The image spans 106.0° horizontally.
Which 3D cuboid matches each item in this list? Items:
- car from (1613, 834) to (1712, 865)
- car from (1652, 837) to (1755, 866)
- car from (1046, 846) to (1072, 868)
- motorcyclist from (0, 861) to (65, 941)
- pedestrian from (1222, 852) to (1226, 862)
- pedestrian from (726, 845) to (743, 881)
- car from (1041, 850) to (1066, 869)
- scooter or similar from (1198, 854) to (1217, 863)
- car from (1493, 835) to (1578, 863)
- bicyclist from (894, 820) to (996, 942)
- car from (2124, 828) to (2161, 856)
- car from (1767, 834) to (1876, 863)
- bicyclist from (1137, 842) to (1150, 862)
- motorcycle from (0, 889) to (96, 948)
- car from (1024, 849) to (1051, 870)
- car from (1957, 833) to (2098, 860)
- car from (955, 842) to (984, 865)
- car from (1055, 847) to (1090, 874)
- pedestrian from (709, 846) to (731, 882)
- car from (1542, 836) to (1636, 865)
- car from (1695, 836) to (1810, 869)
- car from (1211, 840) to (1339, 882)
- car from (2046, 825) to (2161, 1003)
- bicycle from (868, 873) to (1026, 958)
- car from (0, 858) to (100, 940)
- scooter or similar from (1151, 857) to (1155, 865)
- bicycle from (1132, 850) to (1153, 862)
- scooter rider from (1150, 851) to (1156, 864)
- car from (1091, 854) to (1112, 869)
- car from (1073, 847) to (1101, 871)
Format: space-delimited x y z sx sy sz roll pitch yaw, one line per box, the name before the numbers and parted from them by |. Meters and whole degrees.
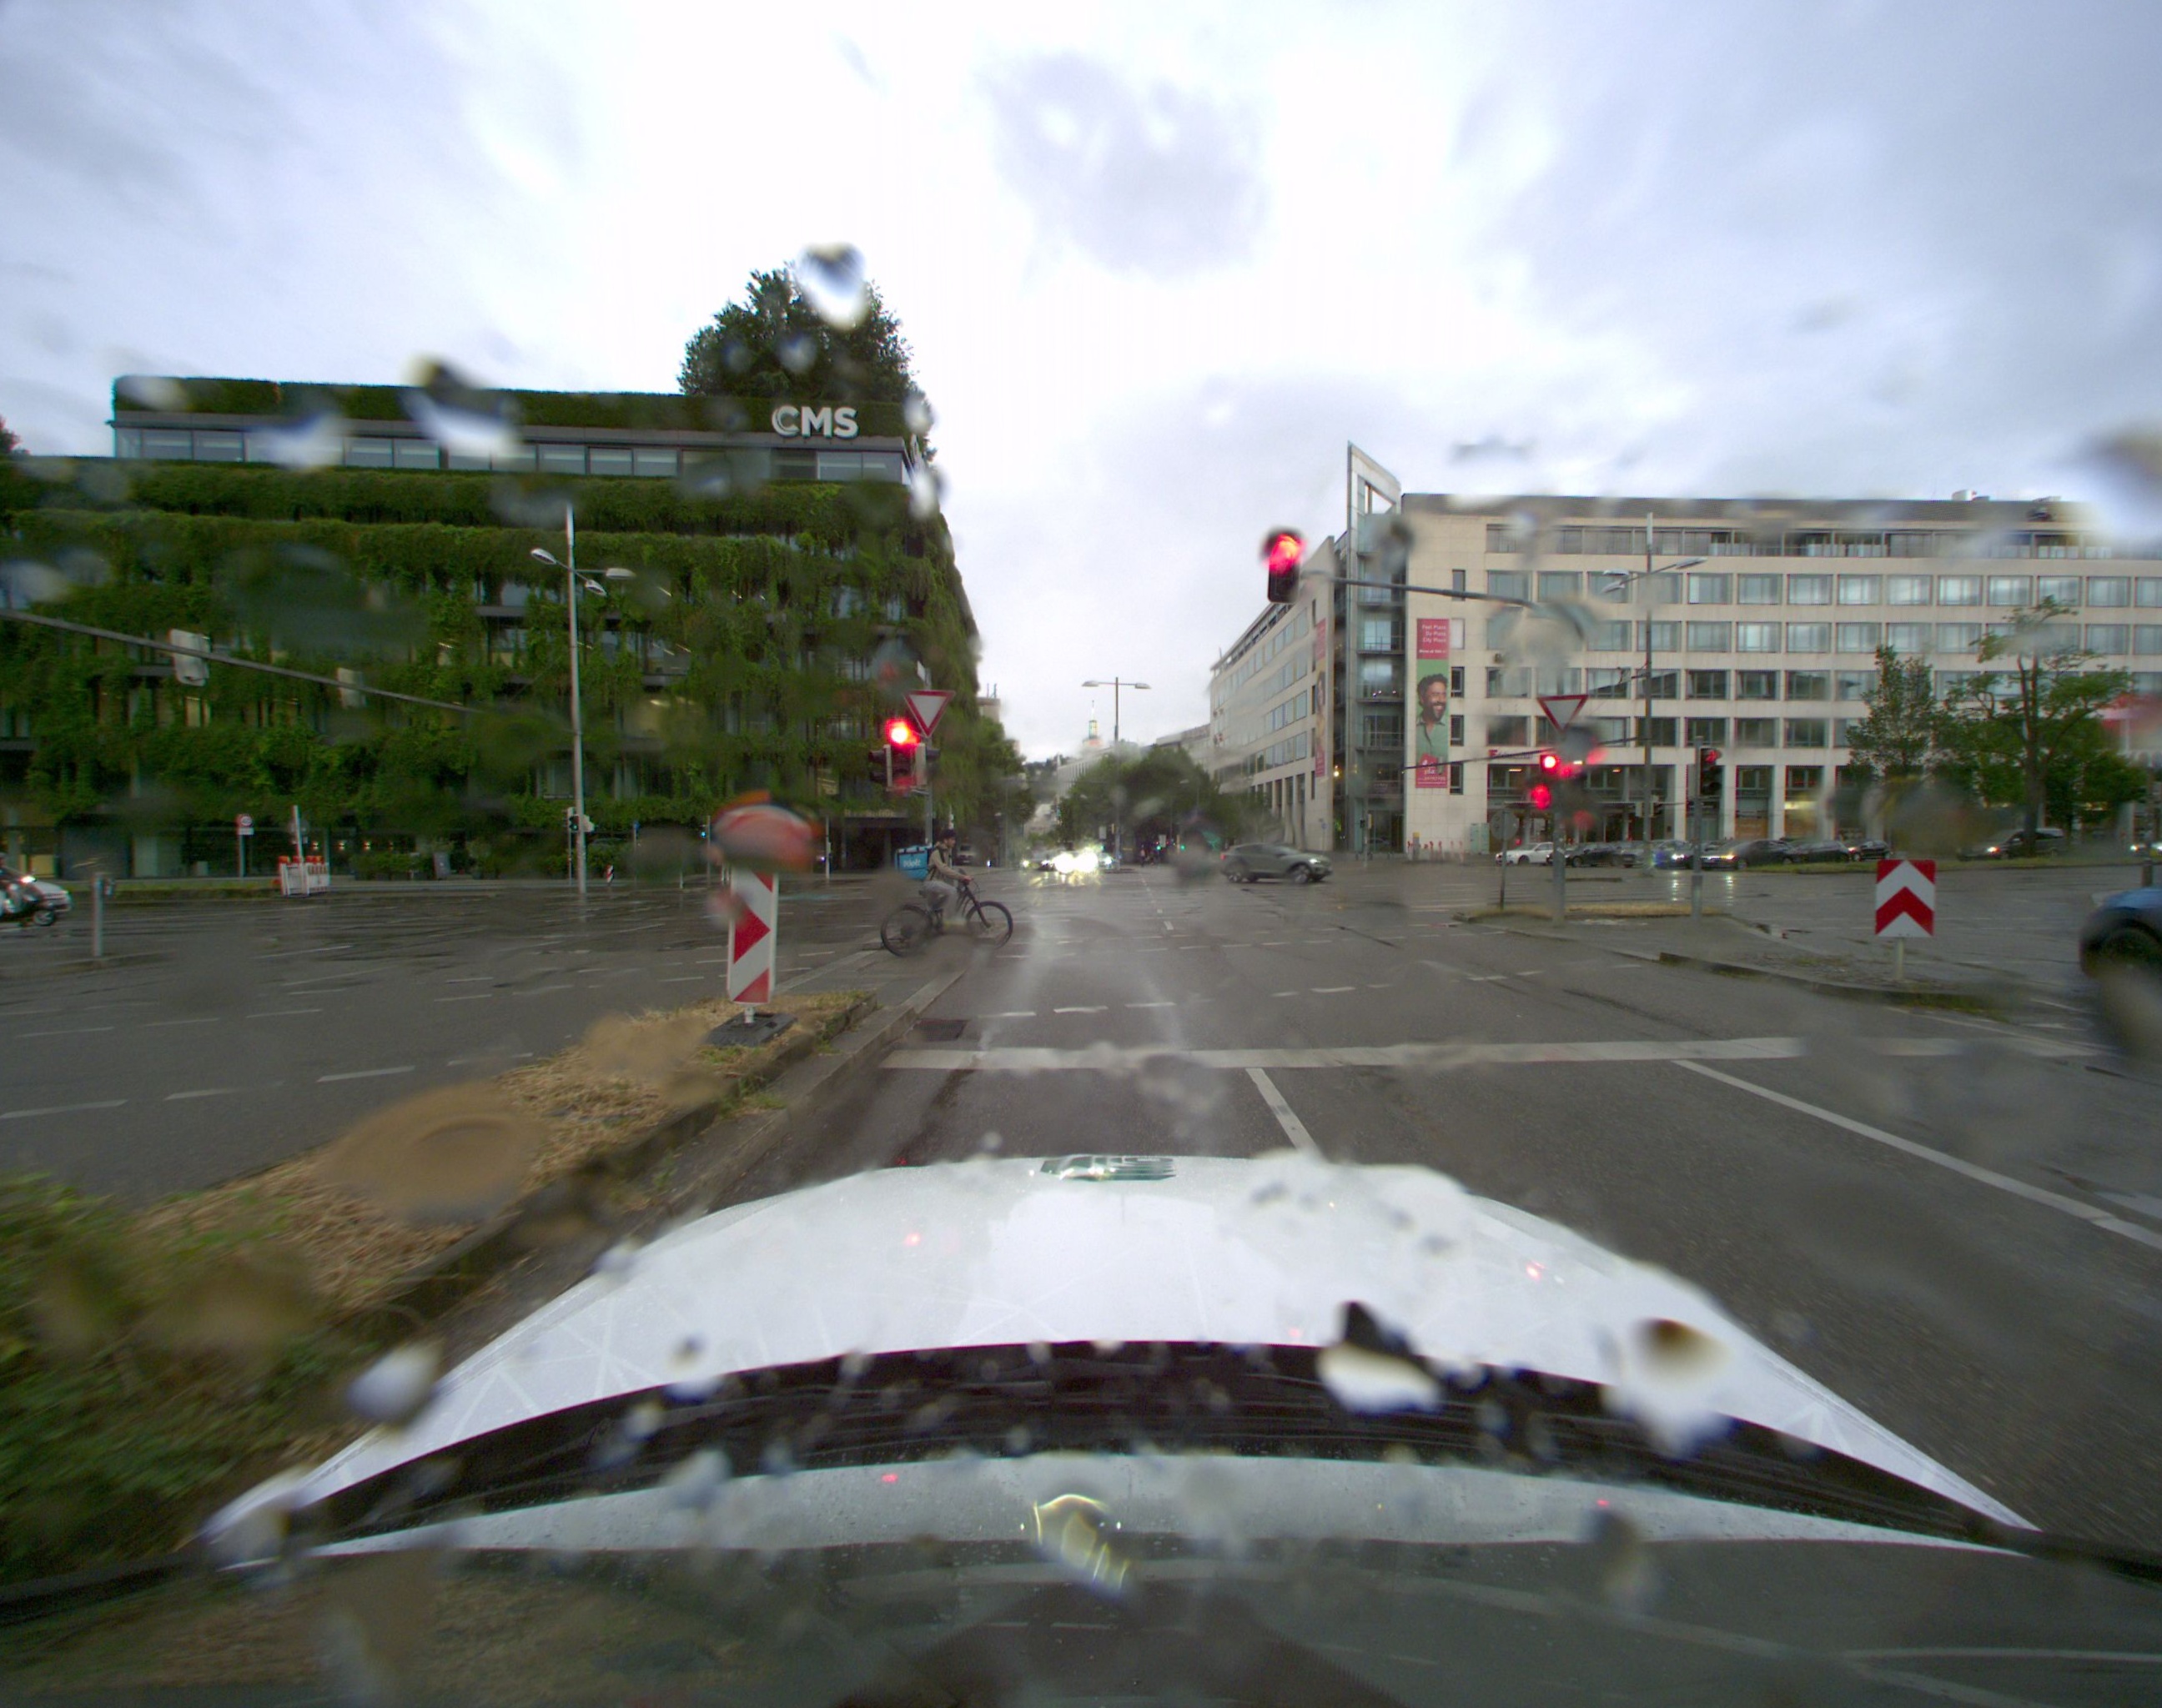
car | 31.761 -0.267 44.536 4.455 1.598 1.991 -1 0 -13
car | 31.368 -0.132 41.060 4.455 1.348 1.715 -1 0 -13
car | -2.037 0.258 73.088 2.171 1.823 4.637 -1 0 -4
motorcyclist | -23.462 1.028 17.857 1.187 1.703 0.844 -1 0 -15
pedestrian | 15.524 0.321 88.323 0.353 1.173 0.413 -1 0 -9
pedestrian | -17.325 0.453 40.691 0.744 1.758 0.969 -1 0 -22
car | -2.283 0.418 66.211 1.853 1.448 4.614 -1 1 -4
scooter or similar | 12.635 0.409 81.320 1.750 0.878 0.486 -1 0 -18
car | 28.087 -0.321 50.392 4.455 1.598 1.991 -1 0 -14
bicyclist | -2.003 0.365 11.977 1.300 1.704 0.841 -1 0 -24
car | 66.895 -0.767 49.962 4.180 1.623 1.727 -1 2 -8
car | 37.172 -0.276 40.908 4.644 1.348 1.917 -1 0 -16
bicyclist | 6.276 -0.189 82.106 0.798 1.975 1.101 0 0 -40
motorcycle | -23.441 1.421 17.860 2.231 1.210 0.844 -1 0 -15
car | -3.160 0.356 59.936 1.851 1.448 4.619 -1 1 -1
car | 50.733 -0.381 43.796 4.590 1.348 1.939 -1 0 32
car | -9.603 -0.017 70.372 1.989 1.895 4.461 -1 0 -2
car | -0.502 0.374 50.196 1.986 1.486 4.466 -1 1 1
pedestrian | -17.897 0.489 40.425 0.939 1.758 1.163 -1 0 -22
car | 29.295 -0.223 47.014 4.451 1.598 1.993 -1 0 -10
car | 31.265 -0.070 37.948 4.452 1.464 1.716 -1 0 -11
car | 7.633 0.278 32.253 4.496 1.550 2.013 -1 0 37
car | 9.780 0.518 5.745 1.690 1.529 4.446 -1 0 17
bicycle | -1.969 0.866 11.979 2.154 1.103 0.842 -1 0 -22
car | -27.071 1.093 19.889 3.450 1.922 1.992 -1 0 -11
scooter or similar | 9.279 0.865 105.117 0.554 1.007 1.826 -1 0 4
bicycle | 6.185 0.201 82.212 0.798 1.117 2.229 -1 0 -39
scooter rider | 9.300 0.445 105.202 0.759 1.774 0.796 -1 0 3
car | 2.097 0.769 84.003 1.988 1.443 4.554 -1 0 -1
car | 0.427 0.378 62.148 1.958 1.655 4.363 -1 1 -1
